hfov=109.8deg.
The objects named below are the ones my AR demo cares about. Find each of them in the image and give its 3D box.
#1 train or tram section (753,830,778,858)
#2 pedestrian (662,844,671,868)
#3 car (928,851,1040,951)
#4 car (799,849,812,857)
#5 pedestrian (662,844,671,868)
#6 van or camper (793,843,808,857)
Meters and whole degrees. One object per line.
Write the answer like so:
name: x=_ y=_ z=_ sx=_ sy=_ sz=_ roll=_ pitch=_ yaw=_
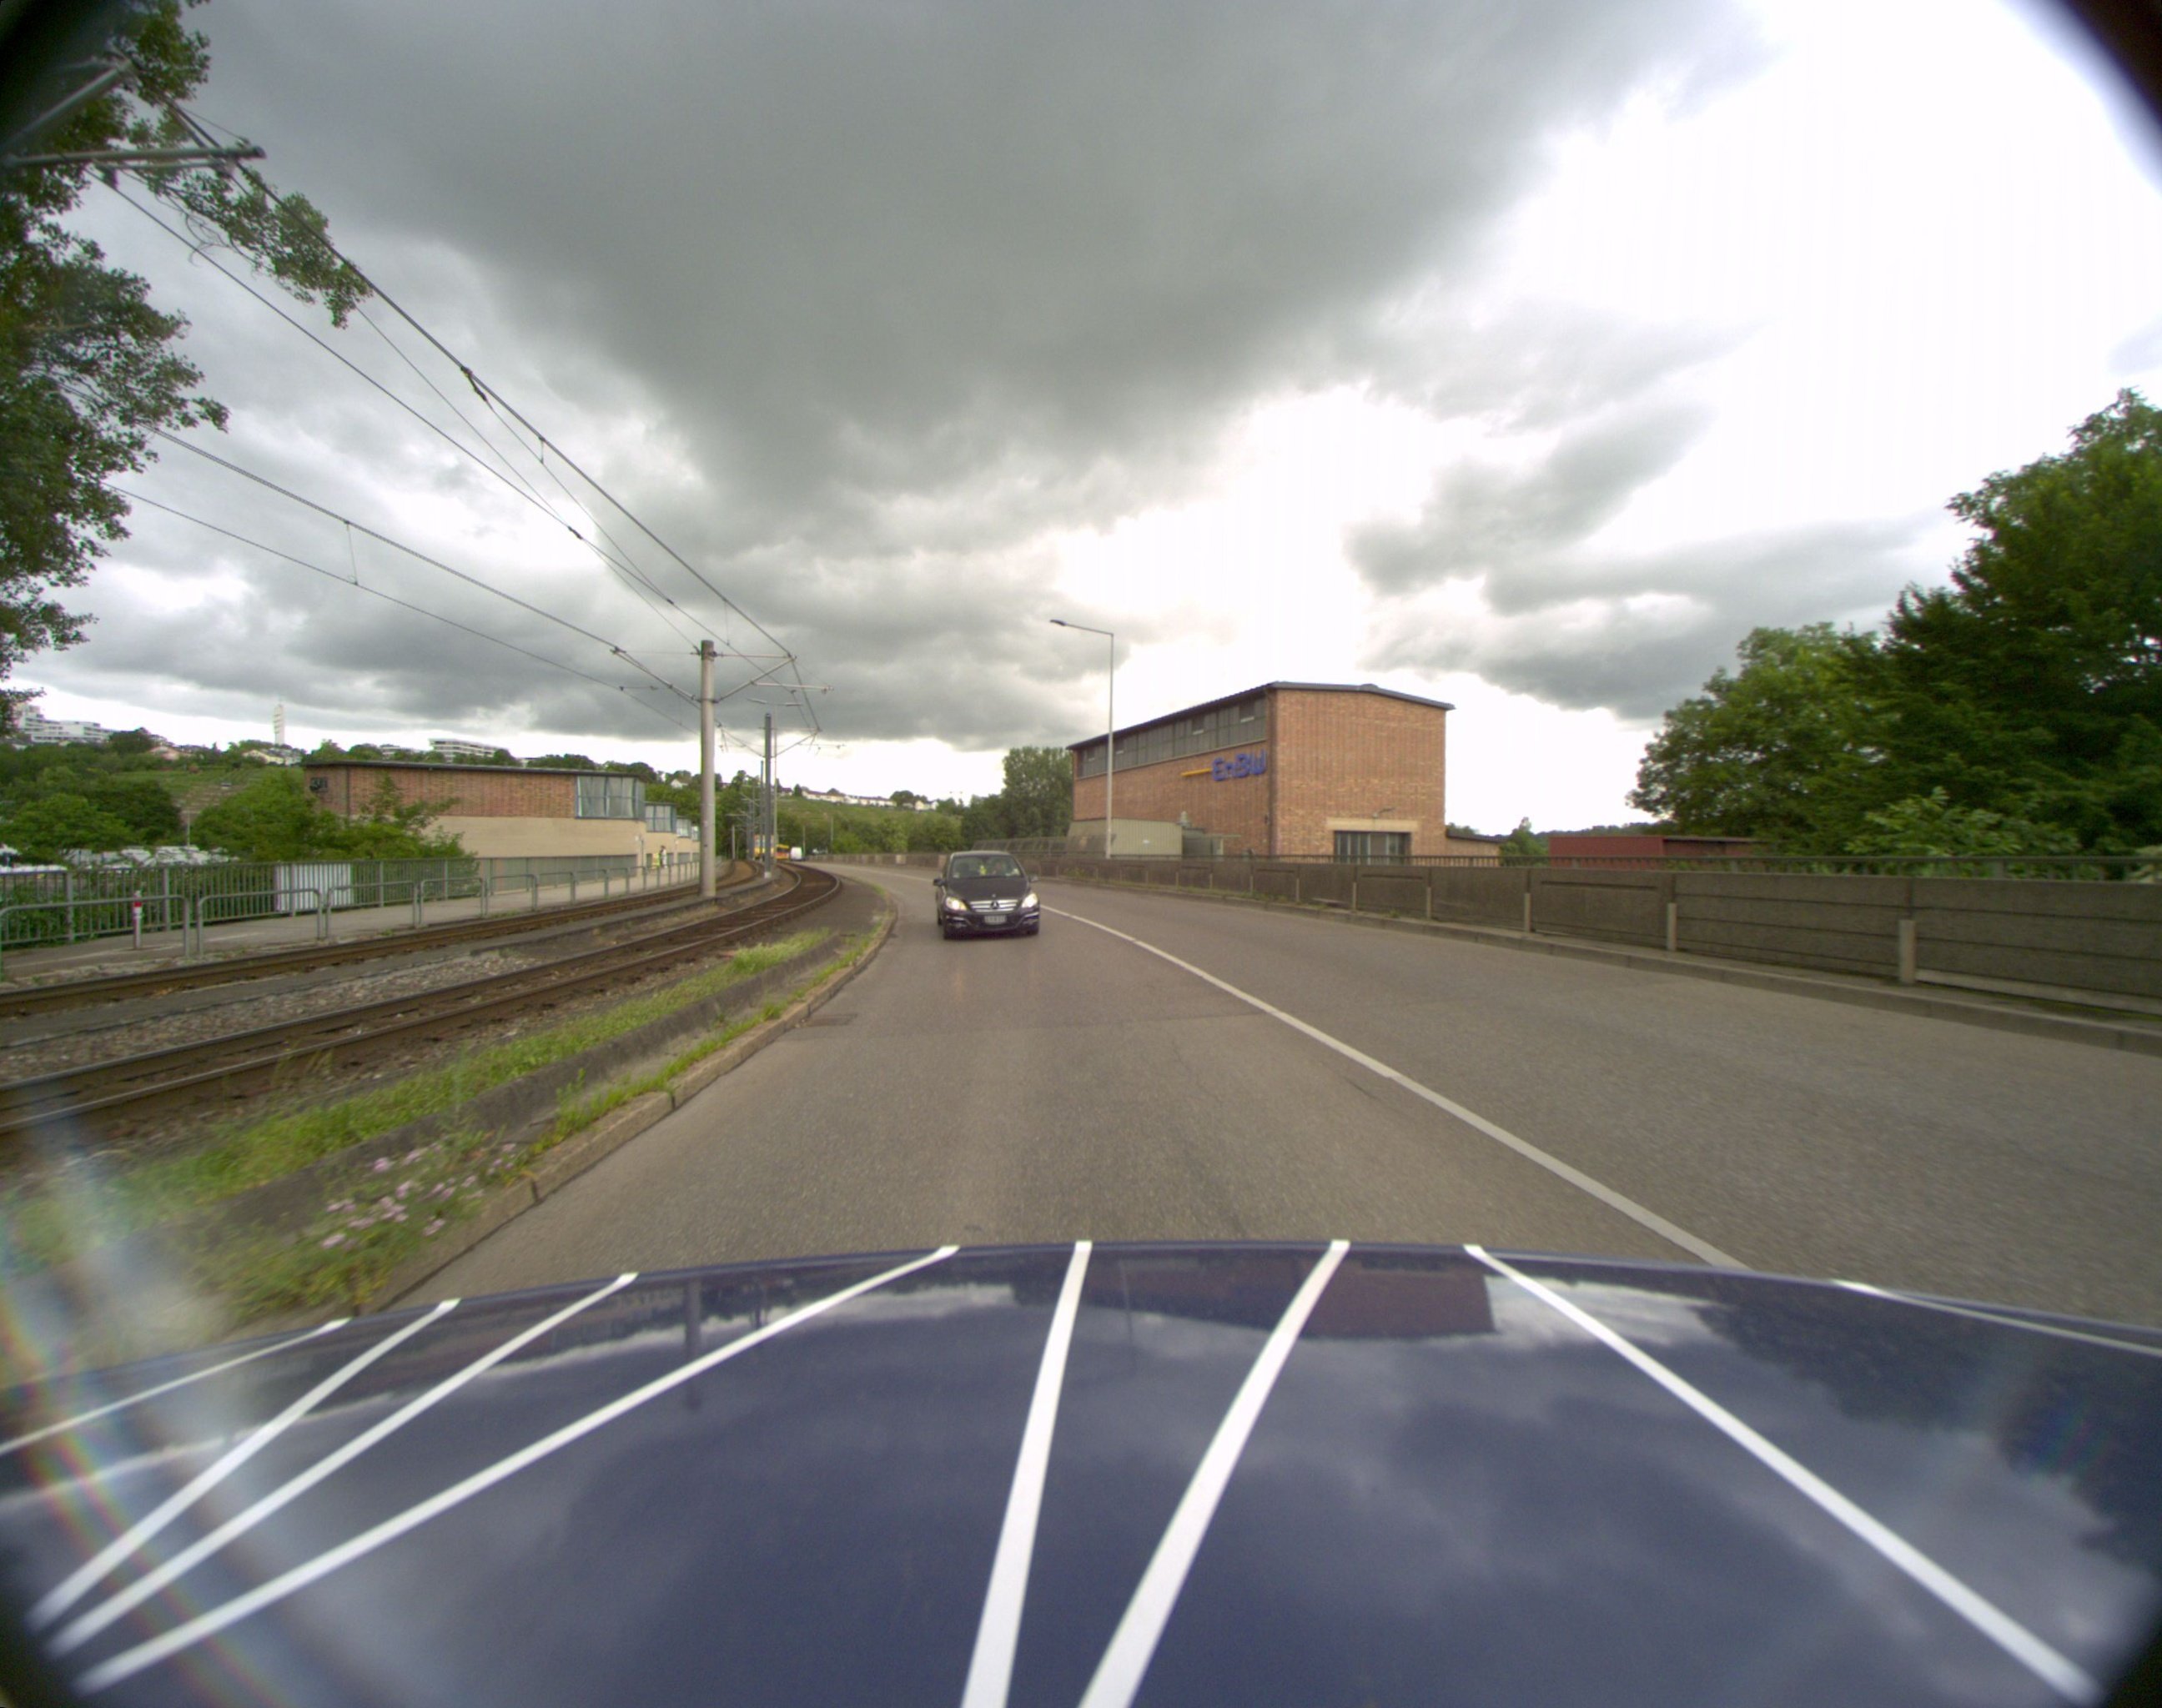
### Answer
train or tram section: x=-45.373 y=-1.430 z=109.442 sx=3.036 sy=3.896 sz=9.423 roll=0 pitch=1 yaw=-22
pedestrian: x=-28.838 y=0.151 z=52.886 sx=0.512 sy=1.655 sz=0.351 roll=-1 pitch=1 yaw=-29
car: x=-1.955 y=0.793 z=15.125 sx=1.862 sy=1.612 sz=3.996 roll=-2 pitch=1 yaw=-8
car: x=-57.433 y=-0.211 z=158.436 sx=2.000 sy=1.565 sz=3.994 roll=-1 pitch=2 yaw=-12
pedestrian: x=-29.021 y=0.152 z=53.231 sx=0.512 sy=1.655 sz=0.351 roll=-1 pitch=1 yaw=-29
van or camper: x=-53.427 y=-0.762 z=144.628 sx=2.160 sy=2.461 sz=4.700 roll=-2 pitch=1 yaw=-25
